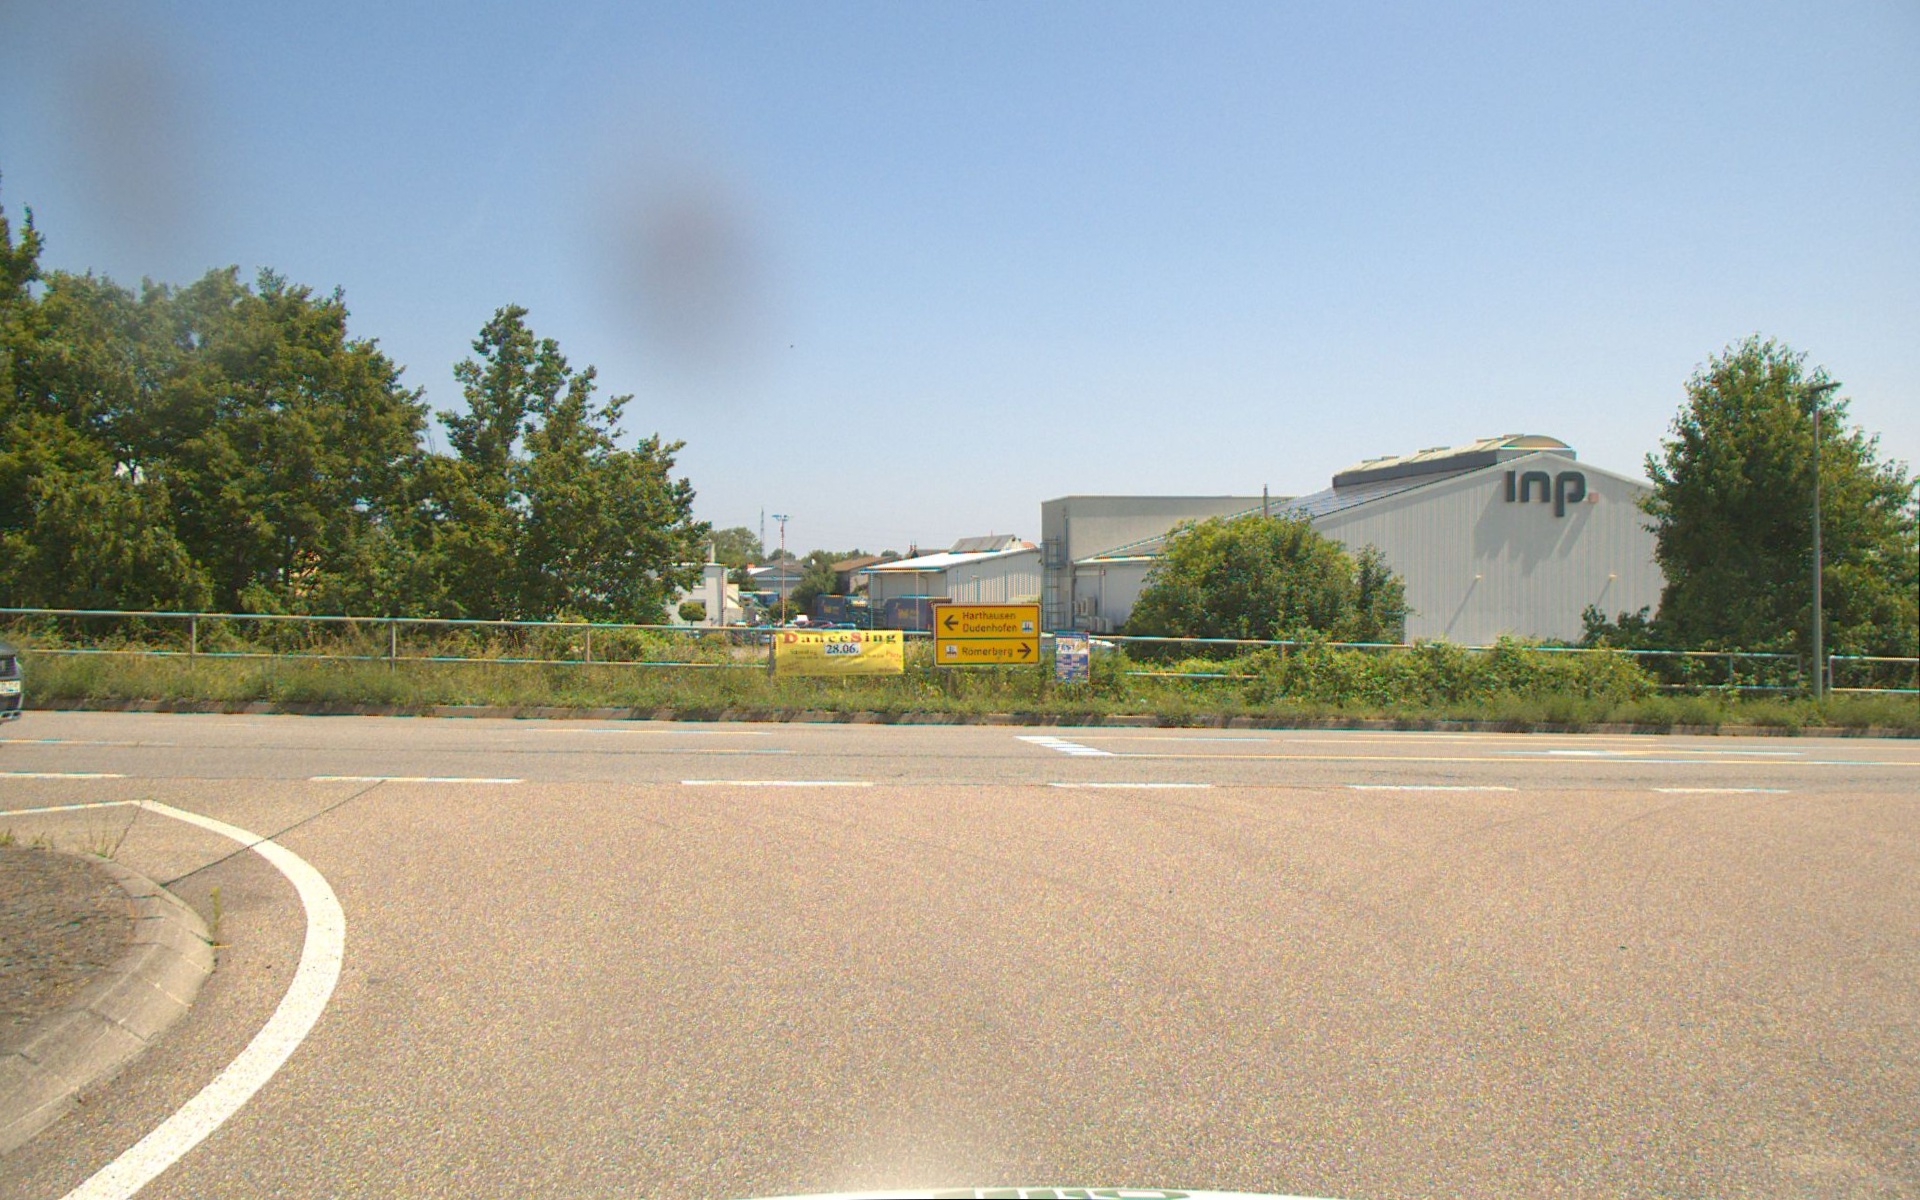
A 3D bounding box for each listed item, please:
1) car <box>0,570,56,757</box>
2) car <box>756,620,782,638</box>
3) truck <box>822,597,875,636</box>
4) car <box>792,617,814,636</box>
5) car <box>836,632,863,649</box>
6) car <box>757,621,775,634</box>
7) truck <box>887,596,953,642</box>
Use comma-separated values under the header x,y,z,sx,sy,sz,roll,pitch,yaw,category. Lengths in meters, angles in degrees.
x,y,z,sx,sy,sz,roll,pitch,yaw,category
-10.472,0.477,14.136,4.396,1.611,1.793,2,-1,-11,car
-20.733,3.137,179.052,1.961,1.761,4.841,2,0,-16,car
-13.399,1.899,197.367,3.355,4.386,14.532,1,0,-15,truck
-17.684,2.929,186.140,1.689,2.049,3.982,1,0,-16,car
-9.817,3.590,146.617,1.656,1.387,3.819,-2,0,-16,car
-22.015,3.101,187.581,1.428,1.374,3.300,1,-1,-17,car
-4.115,1.831,164.391,3.646,4.386,13.291,1,0,-14,truck
